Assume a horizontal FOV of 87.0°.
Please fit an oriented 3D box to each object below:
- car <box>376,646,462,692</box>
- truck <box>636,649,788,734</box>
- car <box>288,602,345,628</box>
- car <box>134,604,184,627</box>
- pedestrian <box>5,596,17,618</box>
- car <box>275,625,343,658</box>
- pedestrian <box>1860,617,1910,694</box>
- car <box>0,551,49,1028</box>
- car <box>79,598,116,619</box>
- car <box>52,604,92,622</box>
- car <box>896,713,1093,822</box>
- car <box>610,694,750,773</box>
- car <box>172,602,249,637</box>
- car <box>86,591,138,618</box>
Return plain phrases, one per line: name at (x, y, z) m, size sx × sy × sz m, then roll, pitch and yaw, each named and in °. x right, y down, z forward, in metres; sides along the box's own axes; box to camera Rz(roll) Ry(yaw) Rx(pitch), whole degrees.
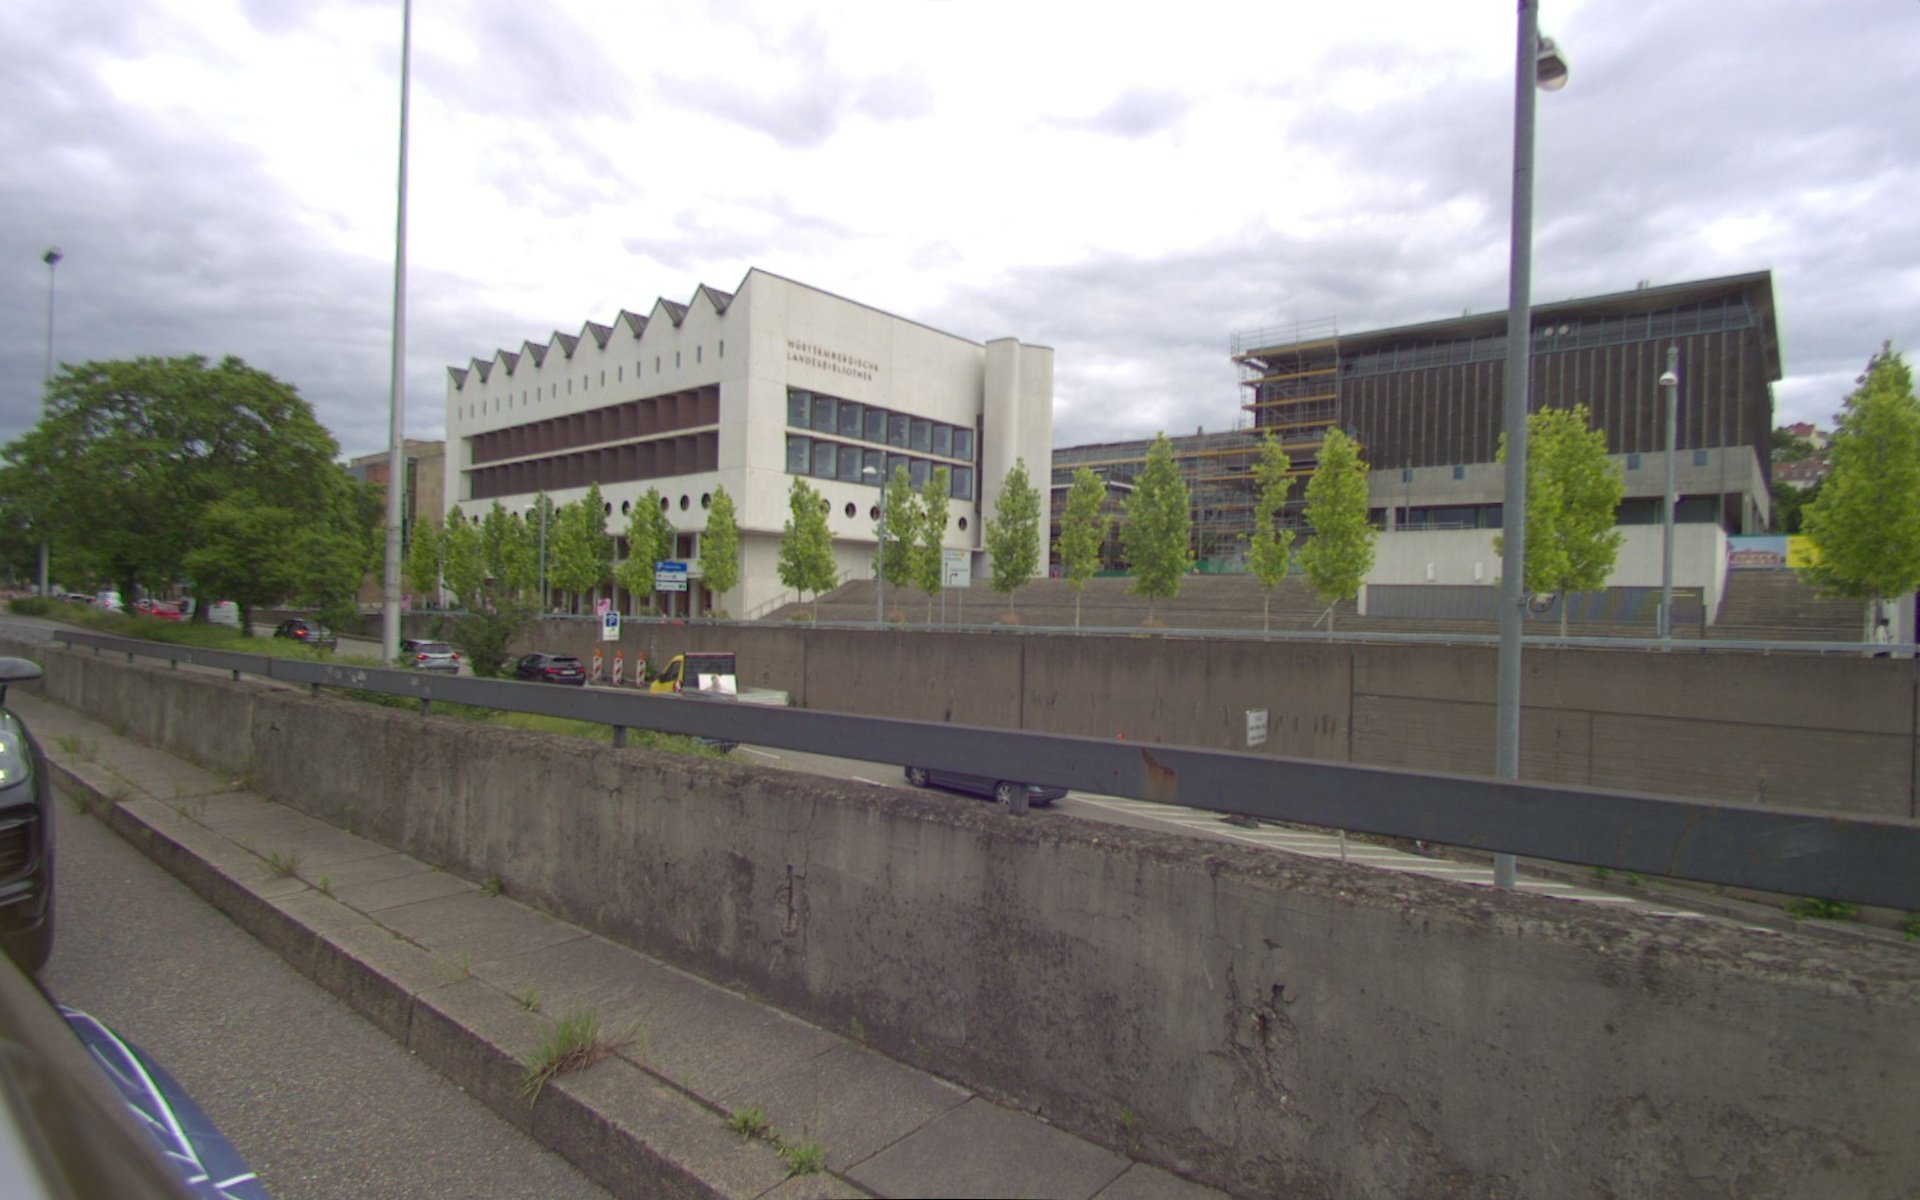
car at (-22.092, 2.775, 41.256) m, size 3.903 × 1.553 × 1.696 m, roll 1°, pitch 2°, yaw 39°
truck at (-8.103, 2.862, 32.772) m, size 5.378 × 2.419 × 2.159 m, roll -2°, pitch -2°, yaw 42°
car at (-46.987, 1.118, 73.838) m, size 4.732 × 1.869 × 2.152 m, roll -1°, pitch -2°, yaw 40°
car at (-53.493, 1.032, 67.583) m, size 3.999 × 1.497 × 1.972 m, roll -1°, pitch -2°, yaw 42°
pedestrian at (-88.528, 0.626, 94.393) m, size 0.741 × 2.029 × 0.782 m, roll -3°, pitch -3°, yaw 42°
car at (-32.714, 2.053, 50.805) m, size 3.999 × 1.560 × 1.855 m, roll 0°, pitch -1°, yaw 42°
pedestrian at (25.013, 1.489, 27.372) m, size 0.729 × 2.029 × 0.794 m, roll 1°, pitch -3°, yaw -37°
car at (-5.499, 0.631, 4.440) m, size 4.733 × 1.602 × 1.879 m, roll 0°, pitch 0°, yaw 44°
car at (-80.318, 0.795, 94.253) m, size 3.998 × 1.776 × 1.973 m, roll 0°, pitch -3°, yaw 41°
car at (-74.532, 1.065, 84.917) m, size 3.998 × 1.409 × 1.973 m, roll 0°, pitch -4°, yaw 41°
car at (0.795, 3.997, 24.886) m, size 4.393 × 1.780 × 2.140 m, roll 4°, pitch 0°, yaw 41°
car at (-7.863, 3.647, 28.241) m, size 4.167 × 1.582 × 1.792 m, roll 1°, pitch 2°, yaw 41°
car at (-44.917, 1.188, 60.613) m, size 5.104 × 2.029 × 2.199 m, roll -1°, pitch -1°, yaw 35°
car at (-62.961, 0.331, 75.130) m, size 5.247 × 1.651 × 1.973 m, roll 2°, pitch -5°, yaw 41°
